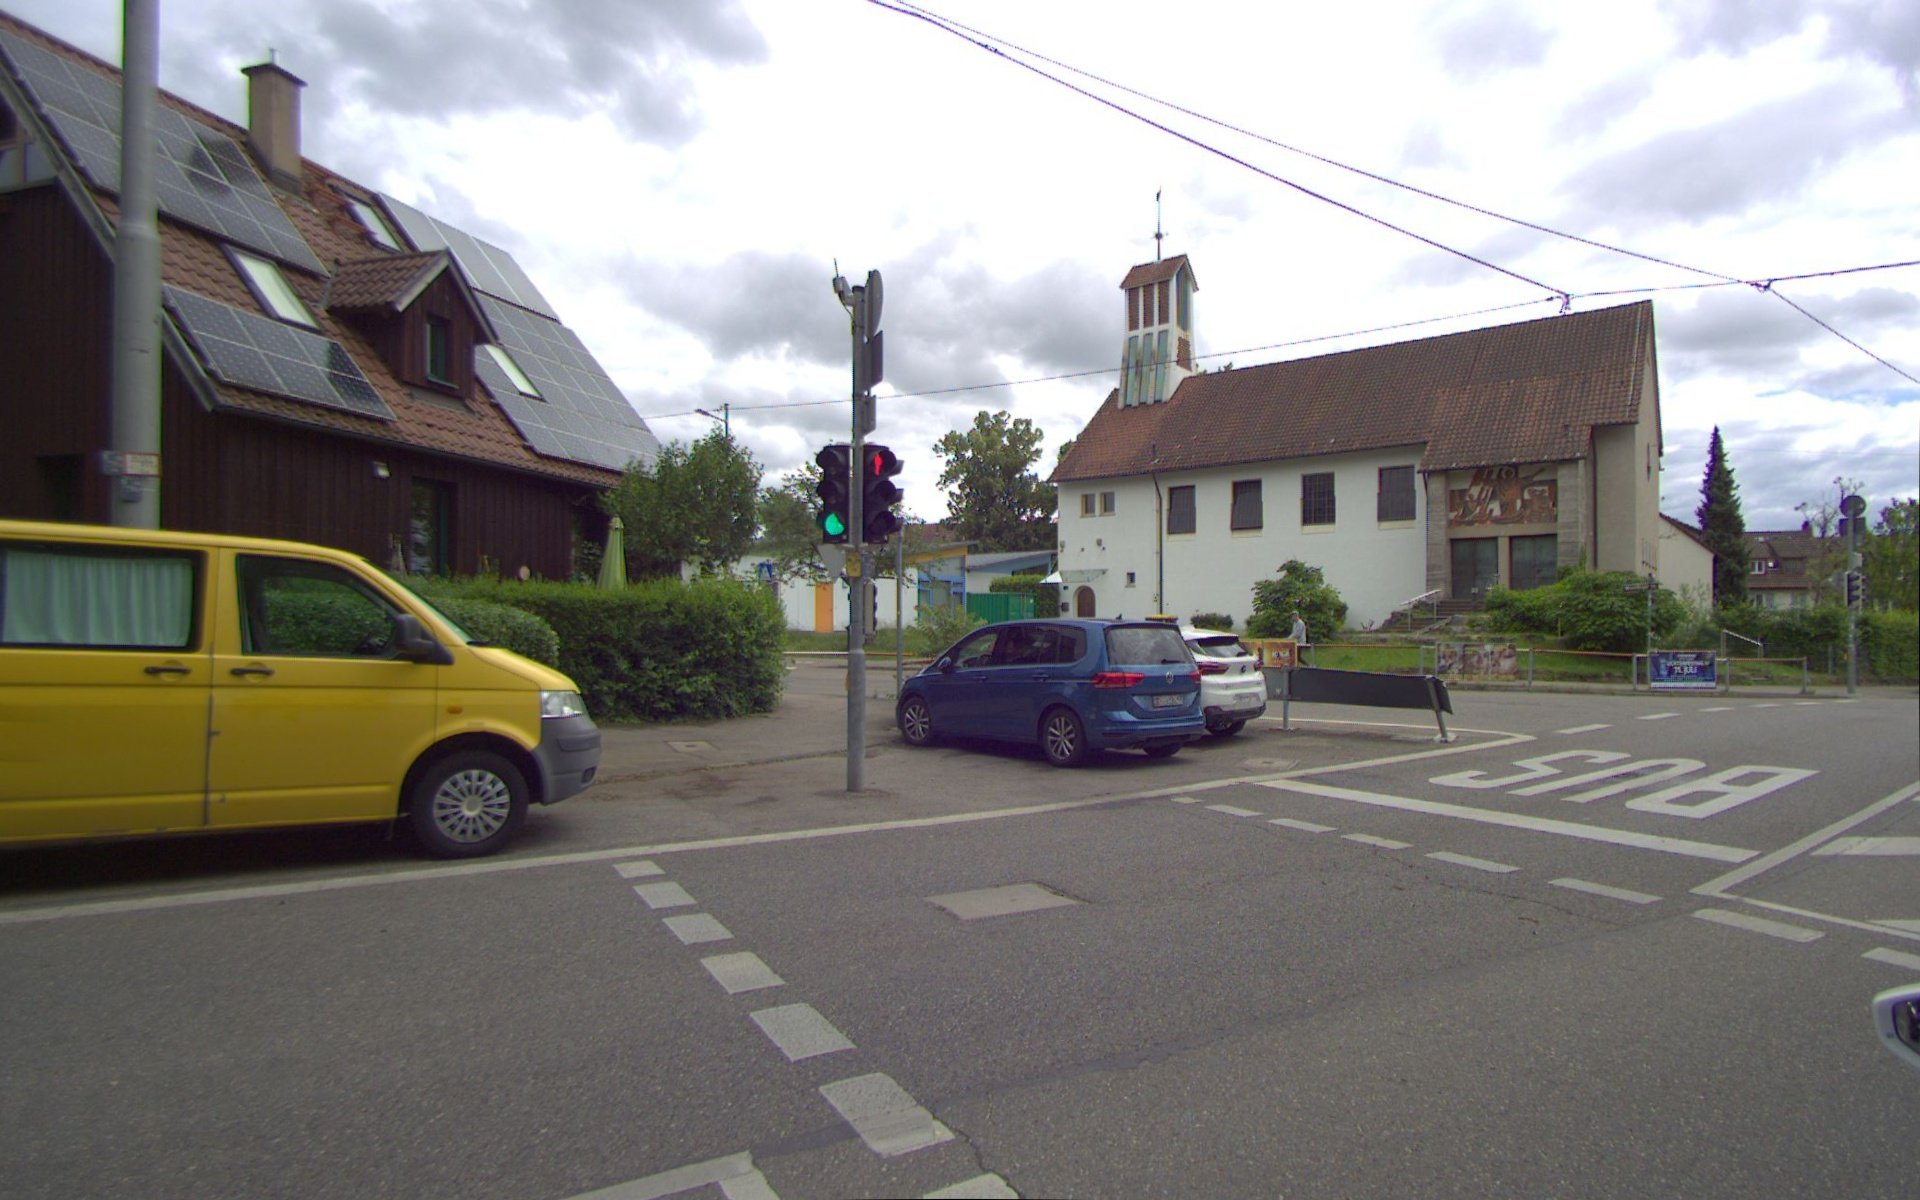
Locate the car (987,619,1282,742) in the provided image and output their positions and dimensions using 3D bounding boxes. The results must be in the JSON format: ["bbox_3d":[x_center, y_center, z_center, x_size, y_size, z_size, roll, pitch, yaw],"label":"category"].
[{"bbox_3d":[2.371,1.035,14.319,1.833,1.491,3.855,1,-2,-43],"label":"car"}]

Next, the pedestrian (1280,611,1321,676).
[{"bbox_3d":[9.082,1.163,26.818,0.814,1.674,0.690,2,-1,4],"label":"pedestrian"}]

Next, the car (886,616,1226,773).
[{"bbox_3d":[0.996,1.004,12.274,1.829,1.567,4.134,1,-2,-38],"label":"car"}]

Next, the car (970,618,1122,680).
[{"bbox_3d":[2.239,1.238,25.859,3.611,1.509,1.775,0,-1,18],"label":"car"}]

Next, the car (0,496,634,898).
[{"bbox_3d":[-4.689,0.533,6.241,4.747,2.015,1.906,2,-2,-32],"label":"car"}]
